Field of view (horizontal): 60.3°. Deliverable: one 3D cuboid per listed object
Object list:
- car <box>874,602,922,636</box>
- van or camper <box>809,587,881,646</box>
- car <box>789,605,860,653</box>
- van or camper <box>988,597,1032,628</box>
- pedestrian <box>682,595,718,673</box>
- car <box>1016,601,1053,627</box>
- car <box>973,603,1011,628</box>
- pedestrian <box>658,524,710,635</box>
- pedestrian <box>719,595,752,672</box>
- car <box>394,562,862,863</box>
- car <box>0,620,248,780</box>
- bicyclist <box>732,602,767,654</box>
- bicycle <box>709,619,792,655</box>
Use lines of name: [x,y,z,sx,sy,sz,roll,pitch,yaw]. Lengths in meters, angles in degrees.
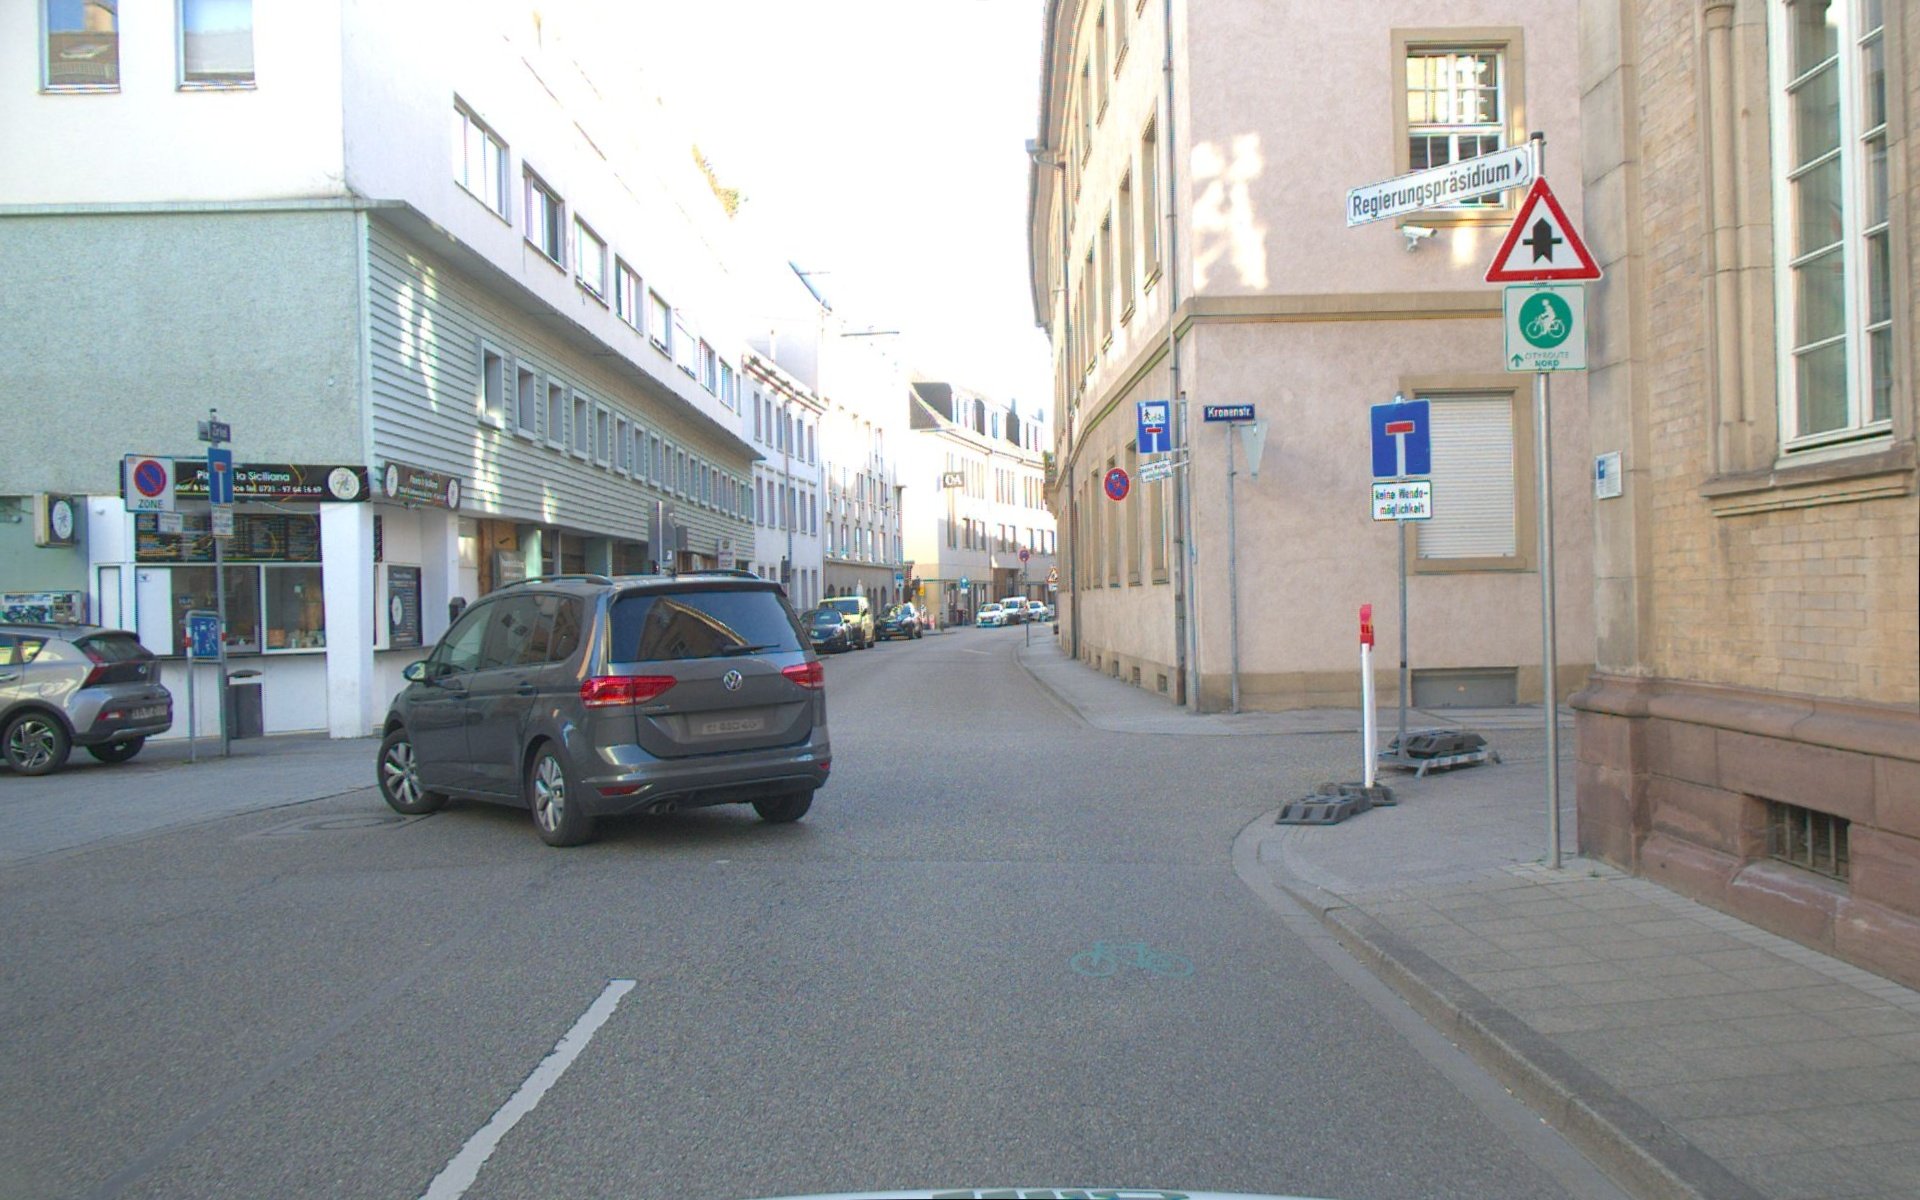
car: [-2.864,0.853,77.297,1.826,1.494,3.835,-1,0,3]
van or camper: [-4.199,0.583,61.071,1.951,2.049,4.485,-1,0,4]
car: [-4.485,0.939,55.324,1.826,1.494,3.835,-1,0,3]
van or camper: [3.466,0.829,113.490,1.951,2.049,5.002,-1,0,14]
pedestrian: [-5.840,0.762,37.218,0.697,1.714,0.480,-1,0,-1]
car: [5.396,0.985,119.840,1.787,1.756,4.003,-1,0,15]
car: [2.122,1.006,107.712,1.697,1.493,4.003,-1,0,12]
pedestrian: [-4.710,-0.343,28.245,0.544,1.861,0.731,-2,0,22]
pedestrian: [-5.058,0.752,37.301,0.649,1.714,0.480,-1,0,-1]
car: [-2.416,0.609,11.221,1.746,1.635,3.953,-1,1,-34]
car: [-9.815,1.033,17.092,4.014,1.468,1.948,-2,0,0]
bicyclist: [-6.574,0.866,51.771,0.742,1.589,0.833,-1,0,24]
bicycle: [-6.560,1.163,51.772,2.490,1.073,0.833,-1,0,24]
